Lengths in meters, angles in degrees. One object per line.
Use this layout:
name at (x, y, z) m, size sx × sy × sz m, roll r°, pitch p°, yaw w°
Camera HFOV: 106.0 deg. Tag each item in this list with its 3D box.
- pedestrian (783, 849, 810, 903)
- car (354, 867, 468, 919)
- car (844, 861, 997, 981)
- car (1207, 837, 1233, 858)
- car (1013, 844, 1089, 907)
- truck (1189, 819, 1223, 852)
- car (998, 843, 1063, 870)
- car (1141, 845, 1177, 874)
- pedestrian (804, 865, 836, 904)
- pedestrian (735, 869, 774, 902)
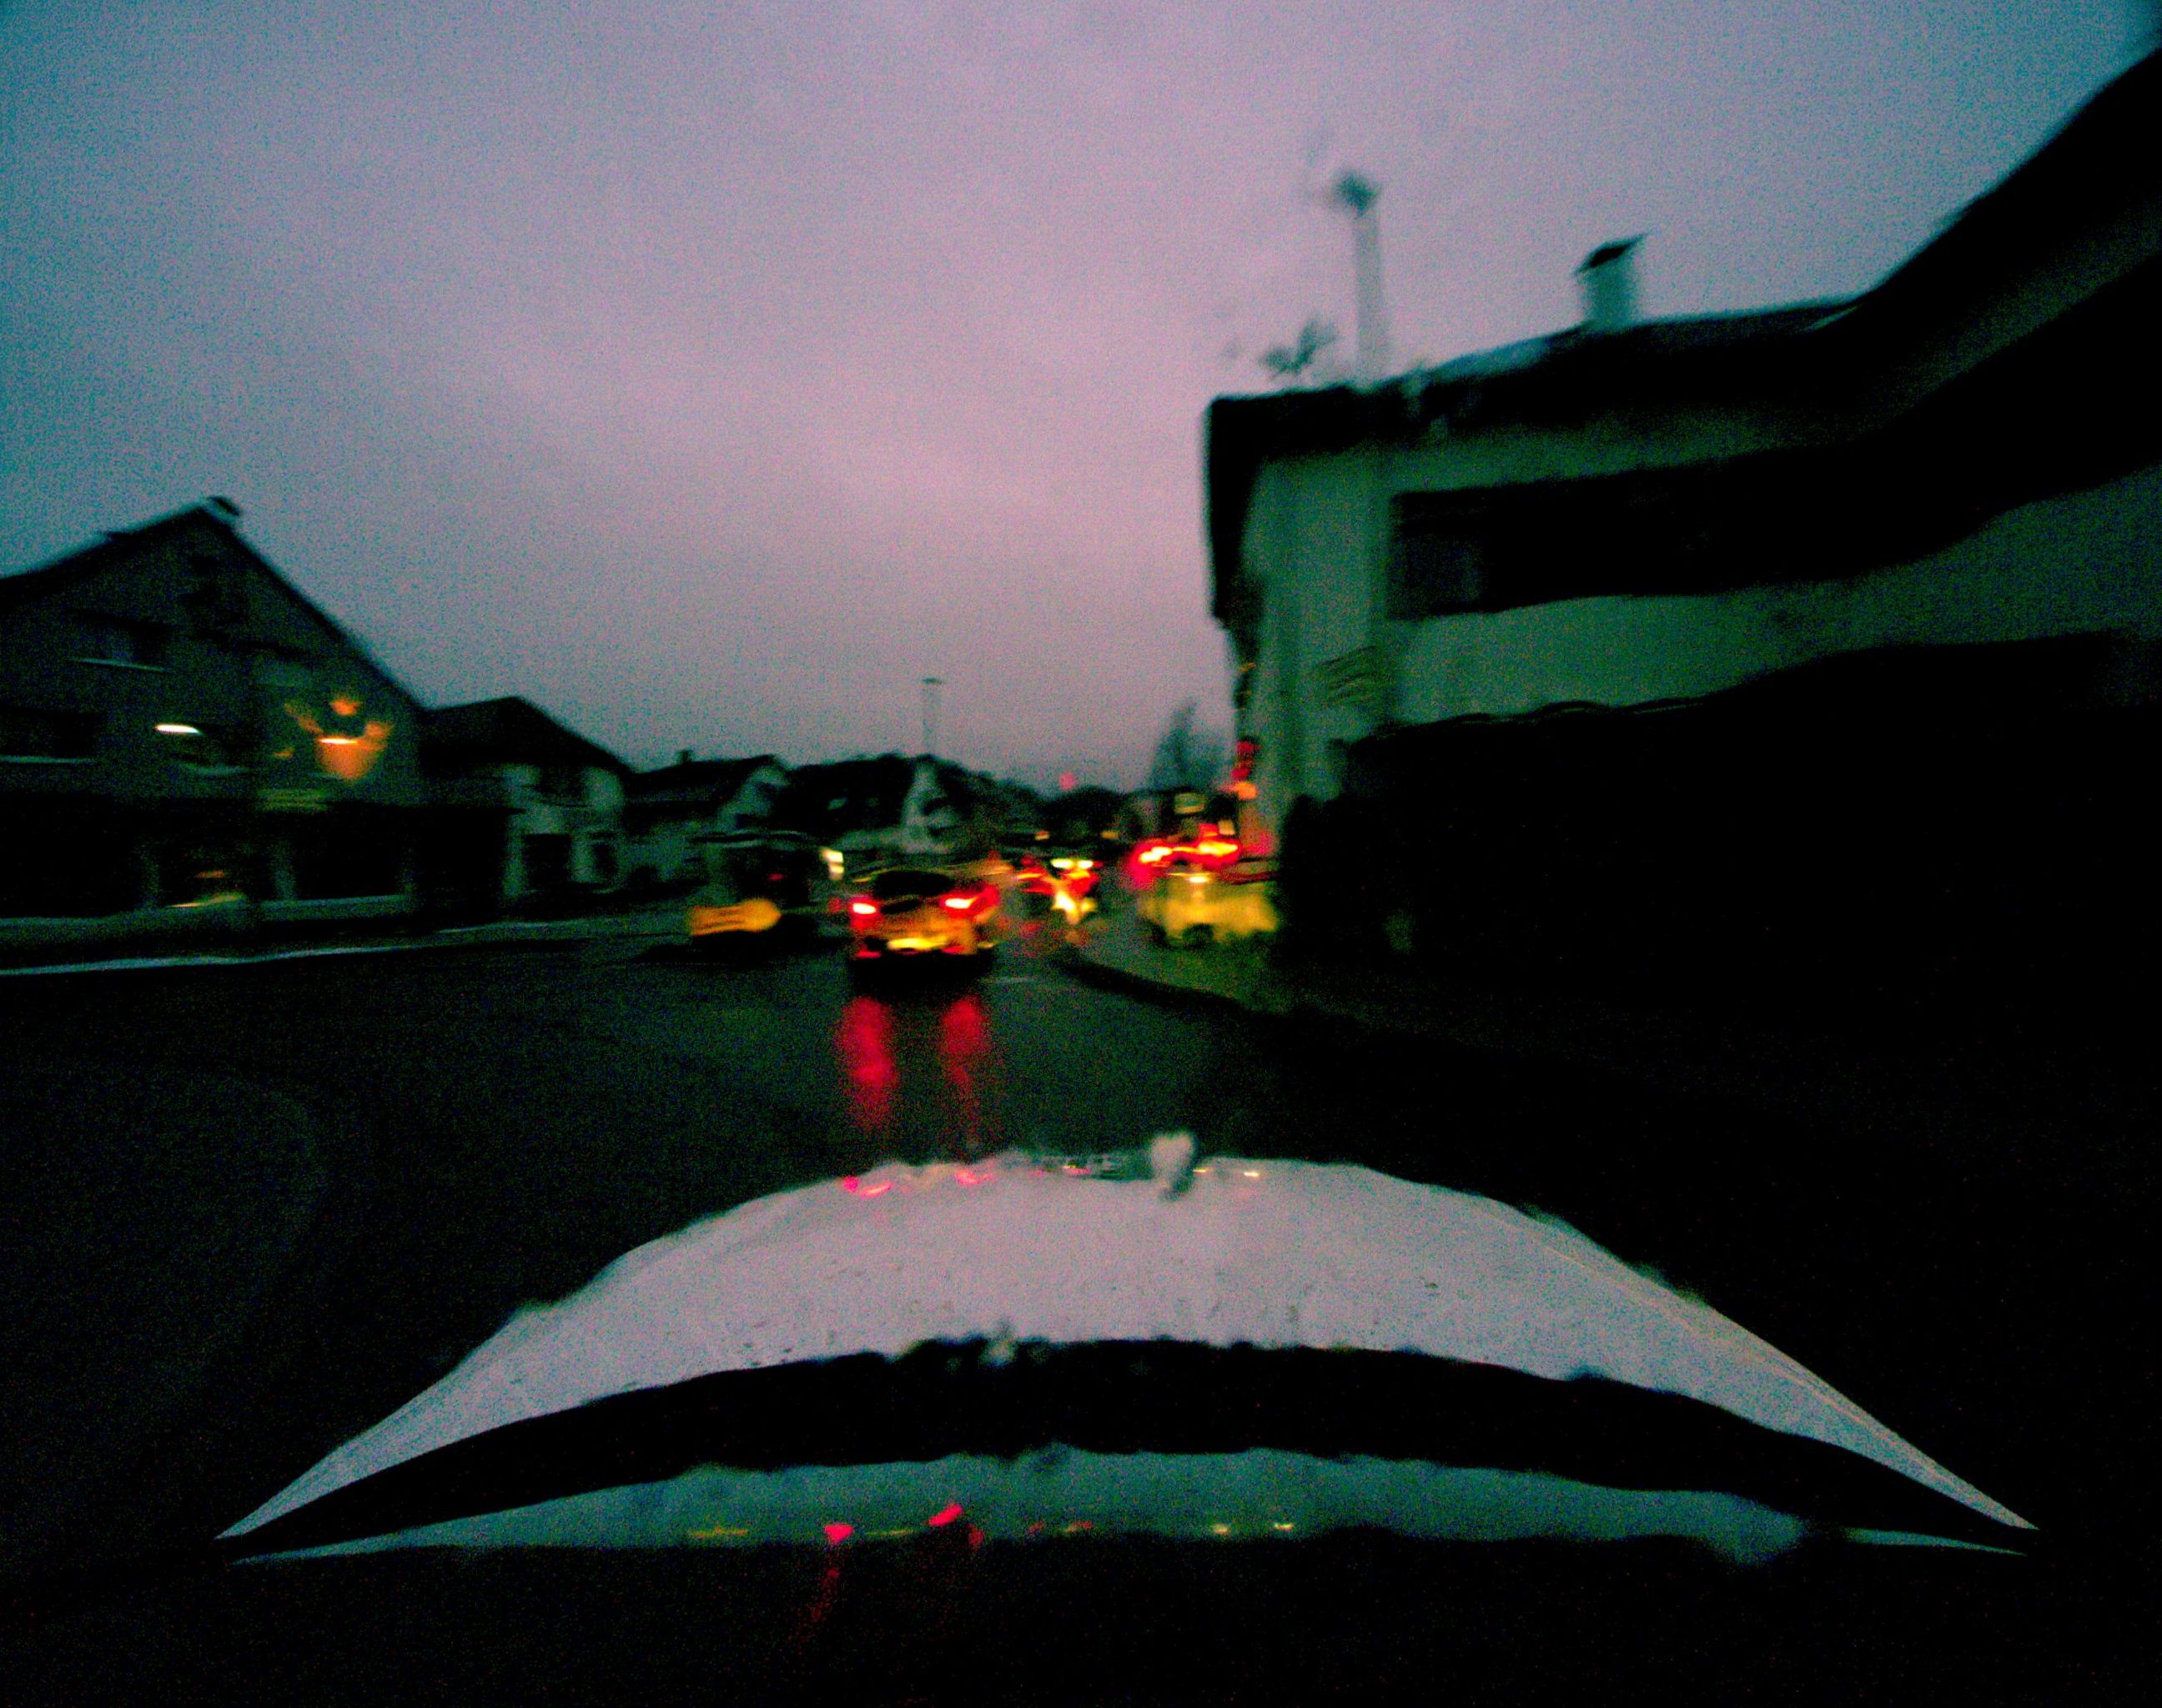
pedestrian at (-9.849, 0.742, 28.189) m, size 0.729 × 1.818 × 0.529 m, roll -3°, pitch 0°, yaw -10°
car at (-26.087, 1.524, 31.706) m, size 3.950 × 1.797 × 1.820 m, roll -2°, pitch 1°, yaw 25°
car at (-2.210, 0.855, 12.168) m, size 1.707 × 1.422 × 4.006 m, roll -2°, pitch -1°, yaw -4°
car at (10.837, -0.556, 63.240) m, size 1.679 × 1.467 × 3.733 m, roll -3°, pitch 1°, yaw 13°
car at (-0.818, 0.585, 24.843) m, size 1.908 × 1.615 × 3.954 m, roll -3°, pitch 1°, yaw 3°
truck at (12.209, -1.834, 79.295) m, size 2.696 × 3.010 × 6.015 m, roll -2°, pitch 1°, yaw 13°
car at (-3.565, 0.182, 57.816) m, size 4.283 × 1.639 × 1.851 m, roll -3°, pitch 1°, yaw 8°
car at (4.860, 0.303, 50.220) m, size 1.710 × 1.631 × 4.013 m, roll -2°, pitch 1°, yaw 11°
pedestrian at (-9.340, 1.090, 29.201) m, size 0.778 × 1.348 × 0.719 m, roll -2°, pitch 0°, yaw 13°
pedestrian at (-10.929, 1.047, 27.291) m, size 0.856 × 1.010 × 0.814 m, roll -2°, pitch 0°, yaw 9°
